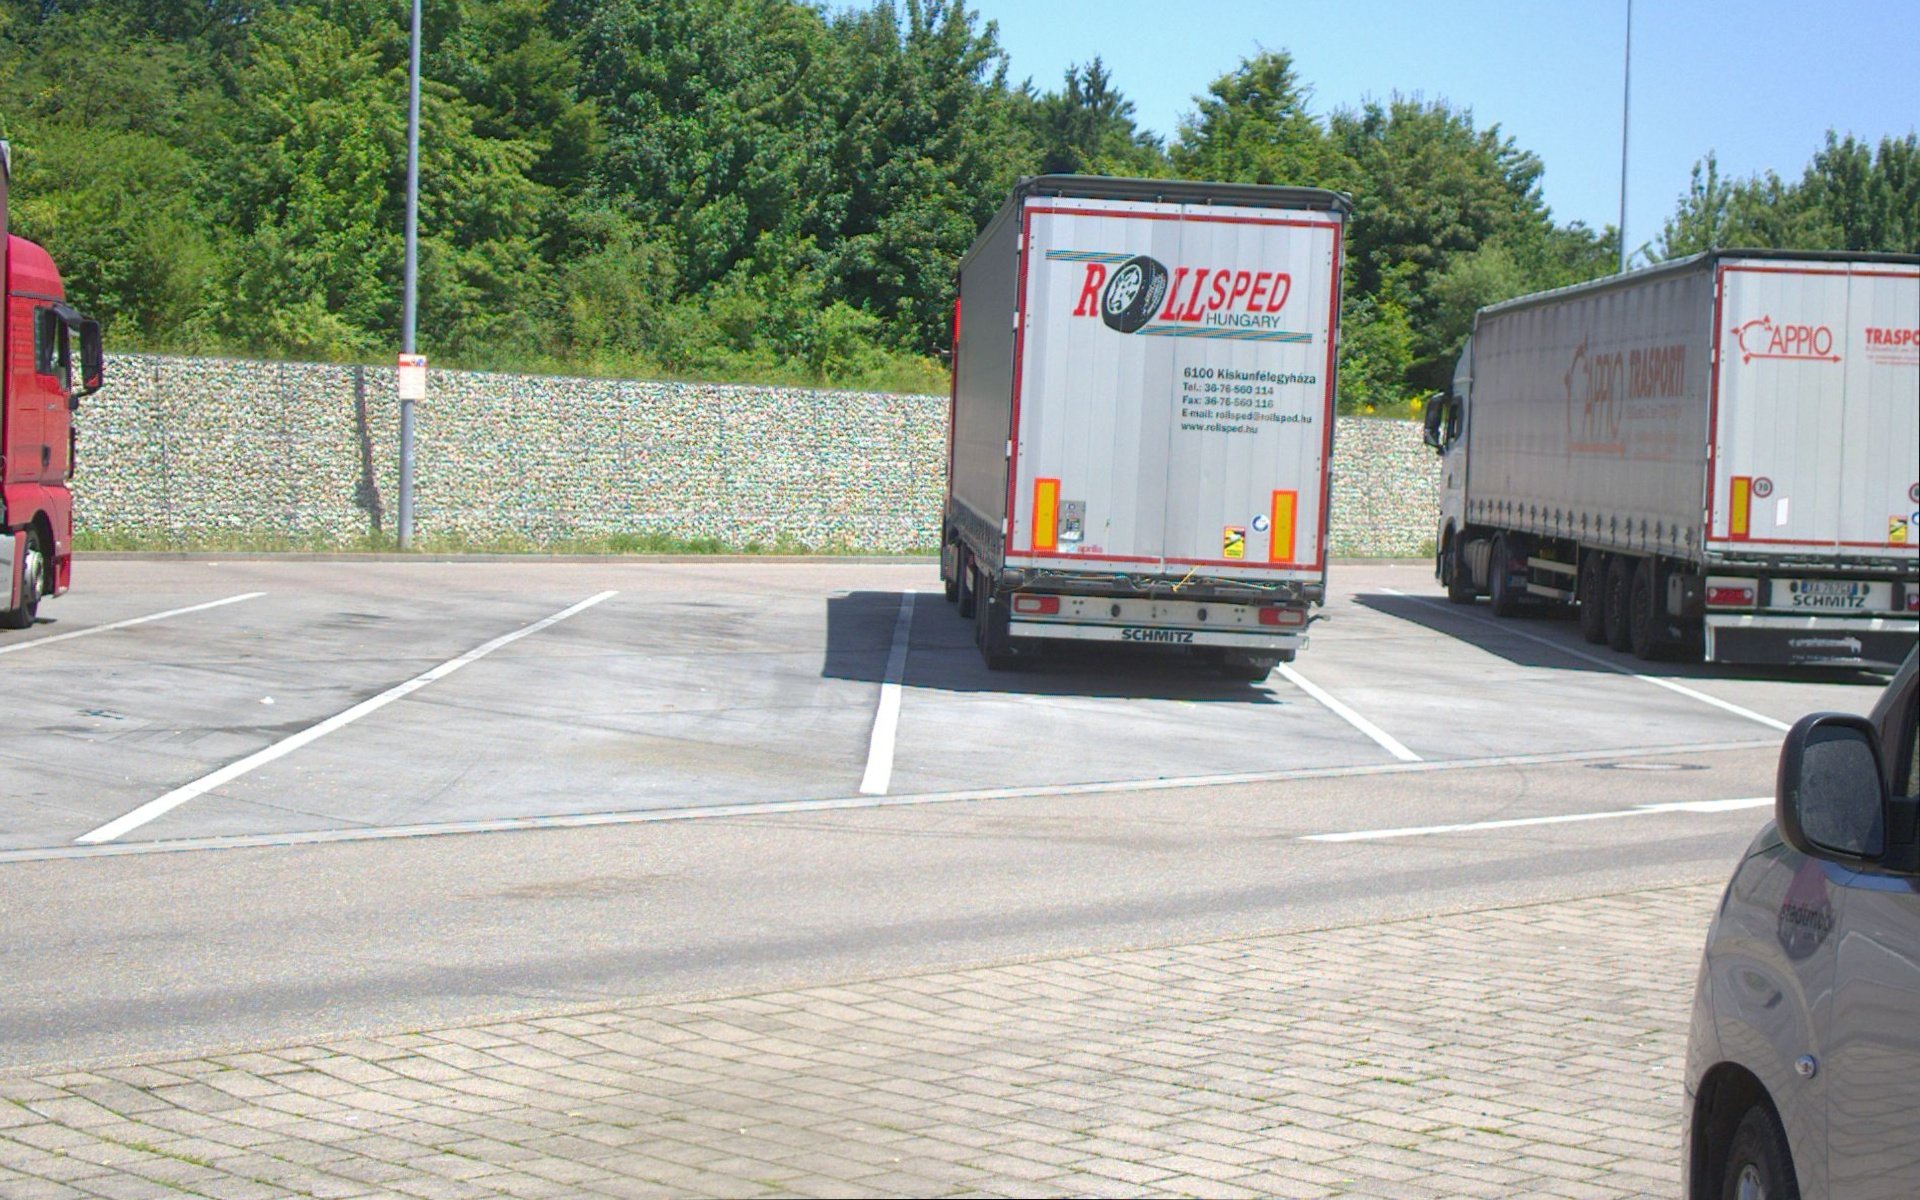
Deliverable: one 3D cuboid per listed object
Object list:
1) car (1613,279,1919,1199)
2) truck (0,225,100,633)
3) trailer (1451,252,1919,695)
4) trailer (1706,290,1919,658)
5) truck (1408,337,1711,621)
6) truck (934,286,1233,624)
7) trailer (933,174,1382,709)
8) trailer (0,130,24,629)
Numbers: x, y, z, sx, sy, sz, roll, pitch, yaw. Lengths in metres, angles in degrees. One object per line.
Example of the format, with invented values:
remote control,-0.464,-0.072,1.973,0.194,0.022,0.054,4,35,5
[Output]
car,2.157,0.579,3.837,1.869,1.857,4.177,2,2,-2
truck,-9.229,-1.445,28.131,2.851,3.316,5.900,2,3,-1
trailer,8.124,-1.524,38.718,2.811,3.976,14.396,2,3,-1
trailer,11.765,-1.457,39.770,2.811,3.976,14.396,2,3,-1
truck,8.032,-1.699,46.818,2.862,3.509,5.900,2,3,-1
truck,1.321,-1.735,40.498,3.103,3.554,5.900,2,3,-1
trailer,1.457,-1.594,33.606,3.133,3.976,14.397,2,3,-1
trailer,-9.185,-1.490,21.557,2.791,4.071,14.133,2,3,-1
